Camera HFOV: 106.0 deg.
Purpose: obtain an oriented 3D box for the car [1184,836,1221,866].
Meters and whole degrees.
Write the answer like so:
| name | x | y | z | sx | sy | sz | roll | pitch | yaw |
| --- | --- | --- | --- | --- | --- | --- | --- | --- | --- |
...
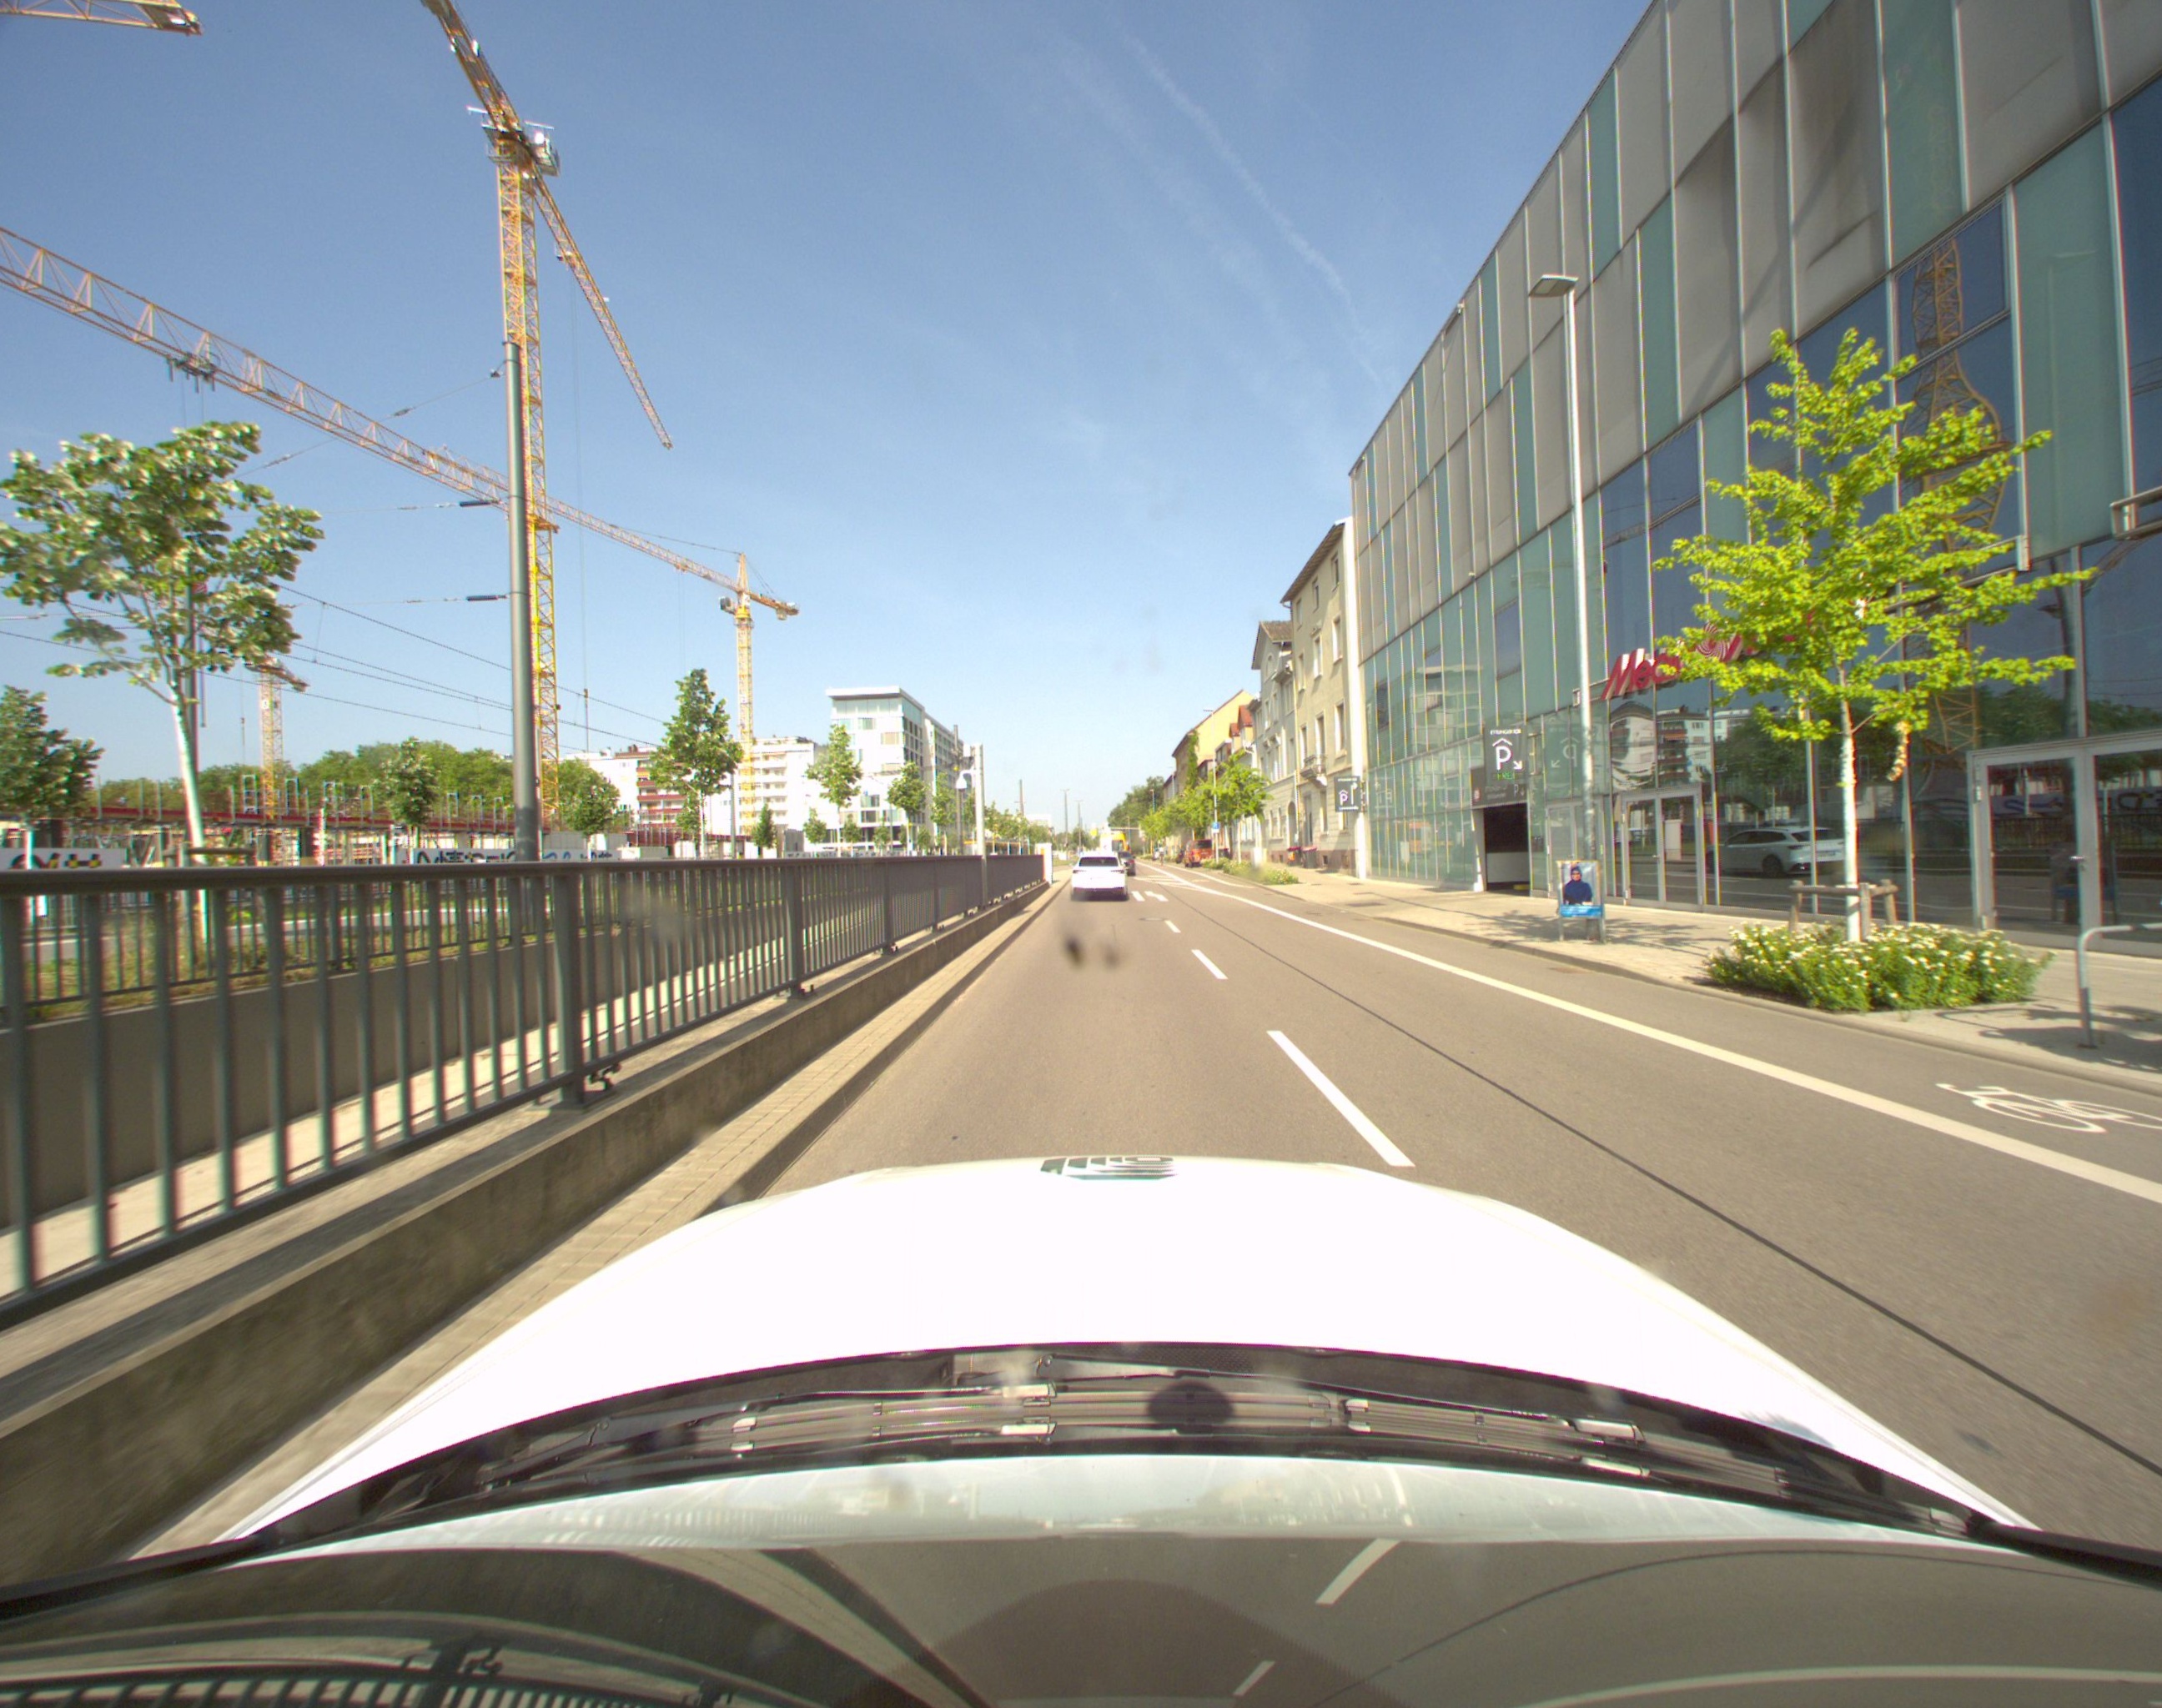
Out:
| name | x | y | z | sx | sy | sz | roll | pitch | yaw |
| --- | --- | --- | --- | --- | --- | --- | --- | --- | --- |
| car | 8.813 | -0.245 | 59.533 | 2.055 | 2.013 | 4.590 | -2 | 1 | 1 |

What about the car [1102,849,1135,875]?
| name | x | y | z | sx | sy | sz | roll | pitch | yaw |
| --- | --- | --- | --- | --- | --- | --- | --- | --- | --- |
| car | 2.137 | 0.432 | 46.533 | 1.753 | 1.436 | 4.117 | 0 | 0 | 2 |

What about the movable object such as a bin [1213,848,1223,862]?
| name | x | y | z | sx | sy | sz | roll | pitch | yaw |
| --- | --- | --- | --- | --- | --- | --- | --- | --- | --- |
| movable object such as a bin | 12.662 | 0.100 | 75.276 | 0.737 | 1.200 | 0.773 | -1 | 0 | 1 |

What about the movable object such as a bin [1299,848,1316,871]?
| name | x | y | z | sx | sy | sz | roll | pitch | yaw |
| --- | --- | --- | --- | --- | --- | --- | --- | --- | --- |
| movable object such as a bin | 11.821 | 0.272 | 42.582 | 0.702 | 1.152 | 0.671 | -1 | 2 | 1 |

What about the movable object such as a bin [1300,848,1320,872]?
| name | x | y | z | sx | sy | sz | roll | pitch | yaw |
| --- | --- | --- | --- | --- | --- | --- | --- | --- | --- |
| movable object such as a bin | 11.691 | 0.302 | 41.614 | 0.779 | 1.172 | 0.808 | -1 | 2 | 1 |

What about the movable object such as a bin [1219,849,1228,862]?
| name | x | y | z | sx | sy | sz | roll | pitch | yaw |
| --- | --- | --- | --- | --- | --- | --- | --- | --- | --- |
| movable object such as a bin | 12.663 | 0.126 | 72.243 | 0.677 | 1.200 | 0.781 | -1 | 0 | 1 |

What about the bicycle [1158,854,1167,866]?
| name | x | y | z | sx | sy | sz | roll | pitch | yaw |
| --- | --- | --- | --- | --- | --- | --- | --- | --- | --- |
| bicycle | 7.073 | 0.519 | 70.763 | 0.652 | 0.938 | 1.519 | -2 | 0 | 4 |

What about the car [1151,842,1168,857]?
| name | x | y | z | sx | sy | sz | roll | pitch | yaw |
| --- | --- | --- | --- | --- | --- | --- | --- | --- | --- |
| car | 9.878 | -0.595 | 103.046 | 1.806 | 1.812 | 3.837 | -1 | 0 | 1 |

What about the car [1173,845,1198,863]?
| name | x | y | z | sx | sy | sz | roll | pitch | yaw |
| --- | --- | --- | --- | --- | --- | --- | --- | --- | --- |
| car | 9.264 | -0.004 | 72.343 | 1.667 | 1.483 | 4.313 | -3 | 0 | 1 |

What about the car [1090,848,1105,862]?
| name | x | y | z | sx | sy | sz | roll | pitch | yaw |
| --- | --- | --- | --- | --- | --- | --- | --- | --- | --- |
| car | 2.245 | 0.103 | 109.694 | 1.923 | 1.821 | 4.003 | -1 | 0 | 3 |

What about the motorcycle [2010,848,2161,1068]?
| name | x | y | z | sx | sy | sz | roll | pitch | yaw |
| --- | --- | --- | --- | --- | --- | --- | --- | --- | --- |
| motorcycle | 7.722 | 0.642 | 5.570 | 1.968 | 1.349 | 0.865 | -2 | 0 | -9 |

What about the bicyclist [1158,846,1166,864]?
| name | x | y | z | sx | sy | sz | roll | pitch | yaw |
| --- | --- | --- | --- | --- | --- | --- | --- | --- | --- |
| bicyclist | 7.054 | 0.070 | 70.793 | 0.636 | 1.577 | 0.772 | -2 | 0 | 4 |

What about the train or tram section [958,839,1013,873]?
| name | x | y | z | sx | sy | sz | roll | pitch | yaw |
| --- | --- | --- | --- | --- | --- | --- | --- | --- | --- |
| train or tram section | -11.297 | 0.245 | 98.691 | 2.892 | 3.676 | 18.161 | 0 | 0 | 5 |

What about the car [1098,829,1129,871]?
| name | x | y | z | sx | sy | sz | roll | pitch | yaw |
| --- | --- | --- | --- | --- | --- | --- | --- | --- | --- |
| car | 2.351 | -0.356 | 58.640 | 2.012 | 2.795 | 5.404 | -2 | 2 | 2 |

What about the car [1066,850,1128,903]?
| name | x | y | z | sx | sy | sz | roll | pitch | yaw |
| --- | --- | --- | --- | --- | --- | --- | --- | --- | --- |
| car | 0.569 | 0.686 | 27.275 | 1.862 | 1.574 | 4.002 | -2 | 0 | 2 |

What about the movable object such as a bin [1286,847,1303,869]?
| name | x | y | z | sx | sy | sz | roll | pitch | yaw |
| --- | --- | --- | --- | --- | --- | --- | --- | --- | --- |
| movable object such as a bin | 11.791 | 0.220 | 45.036 | 0.674 | 1.152 | 0.610 | -3 | 3 | -42 |
